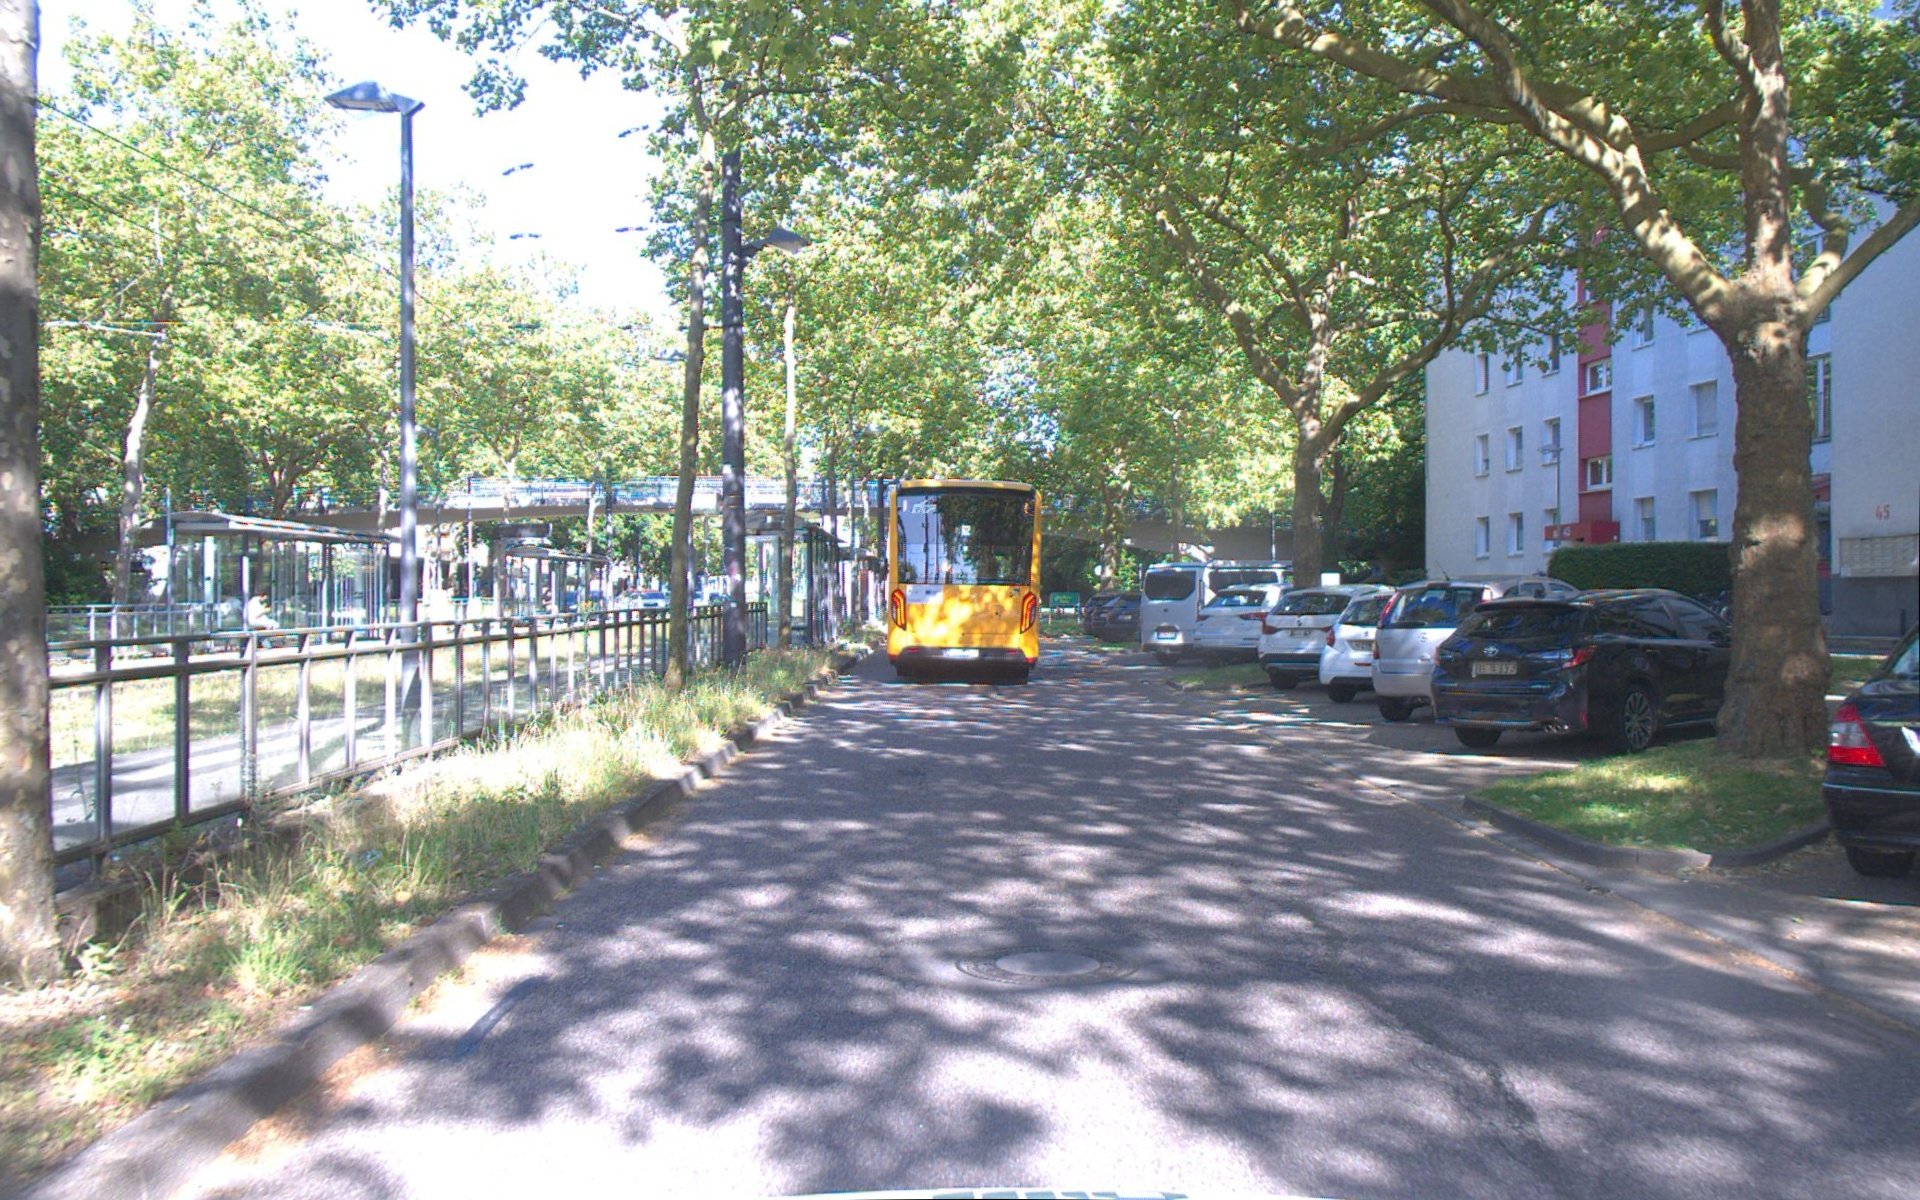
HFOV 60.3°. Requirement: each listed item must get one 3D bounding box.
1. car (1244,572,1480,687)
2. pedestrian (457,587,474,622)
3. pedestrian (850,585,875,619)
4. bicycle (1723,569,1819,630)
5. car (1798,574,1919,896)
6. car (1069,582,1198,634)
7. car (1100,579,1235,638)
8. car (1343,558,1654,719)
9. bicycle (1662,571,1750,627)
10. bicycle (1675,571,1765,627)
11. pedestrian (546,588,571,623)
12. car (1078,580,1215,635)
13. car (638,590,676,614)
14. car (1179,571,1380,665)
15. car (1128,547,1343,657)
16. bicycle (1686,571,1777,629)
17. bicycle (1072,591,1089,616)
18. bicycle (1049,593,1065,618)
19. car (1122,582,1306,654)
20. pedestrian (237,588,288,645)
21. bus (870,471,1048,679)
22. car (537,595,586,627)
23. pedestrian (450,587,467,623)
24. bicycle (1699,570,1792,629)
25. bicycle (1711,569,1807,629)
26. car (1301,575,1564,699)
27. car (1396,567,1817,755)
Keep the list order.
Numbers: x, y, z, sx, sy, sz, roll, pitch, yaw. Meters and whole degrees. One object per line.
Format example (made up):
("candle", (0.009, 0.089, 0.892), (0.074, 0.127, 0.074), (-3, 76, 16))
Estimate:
("car", (6.295, 0.420, 25.602), (1.768, 1.536, 4.188), (-2, 0, 42))
("pedestrian", (-23.788, 0.212, 79.536), (0.635, 1.690, 0.649), (0, 0, -5))
("pedestrian", (-3.625, 0.079, 61.635), (0.837, 1.264, 0.850), (1, 0, 1))
("bicycle", (16.876, -0.006, 34.419), (1.760, 1.149, 0.499), (-3, 0, -6))
("car", (6.223, 0.559, 8.942), (1.769, 1.447, 4.559), (-1, 1, 44))
("car", (5.710, 0.249, 54.131), (4.219, 1.487, 1.773), (-3, 0, -41))
("car", (6.025, 0.241, 47.803), (3.970, 1.493, 1.754), (-3, 0, -44))
("car", (6.391, 0.396, 19.430), (3.969, 1.617, 1.771), (-3, 0, -44))
("bicycle", (16.873, -0.031, 37.413), (1.760, 1.149, 0.499), (-3, 0, -6))
("bicycle", (16.898, -0.024, 36.775), (1.760, 1.149, 0.499), (-3, 0, -6))
("pedestrian", (-14.692, 0.191, 60.513), (0.762, 1.259, 0.722), (0, 0, -2))
("car", (5.771, 0.227, 50.959), (4.219, 1.487, 1.773), (-3, 0, -41))
("car", (-20.324, 0.126, 111.017), (1.757, 1.608, 4.287), (0, 0, 0))
("car", (6.221, 0.328, 32.003), (4.027, 1.607, 1.803), (-3, 0, -44))
("car", (5.859, 0.025, 34.841), (4.550, 2.088, 1.987), (-3, 0, -41))
("bicycle", (16.876, -0.008, 36.195), (1.760, 1.149, 0.499), (-3, 0, -6))
("bicycle", (6.048, 0.174, 83.015), (0.578, 1.203, 1.800), (-3, 1, -1))
("bicycle", (4.875, 0.261, 83.041), (0.578, 1.203, 1.800), (-3, 1, -1))
("car", (5.981, 0.399, 38.606), (4.552, 1.448, 1.772), (-3, 0, -42))
("pedestrian", (-14.819, 0.349, 35.147), (0.750, 1.204, 0.763), (0, 0, 0))
("bus", (-0.169, -0.432, 32.550), (2.841, 3.324, 12.214), (0, 0, -1))
("car", (-20.494, 0.541, 85.206), (1.759, 1.593, 4.284), (0, 0, -4))
("pedestrian", (-23.873, 0.222, 78.794), (0.635, 1.690, 0.649), (0, 0, -5))
("bicycle", (16.923, -0.007, 35.641), (1.760, 1.149, 0.499), (-3, 0, -6))
("bicycle", (16.932, -0.017, 35.042), (1.760, 1.149, 0.549), (-3, 0, -6))
("car", (6.546, 0.463, 22.698), (1.801, 1.444, 3.974), (-2, 0, 44))
("car", (6.317, 0.505, 15.933), (4.369, 1.453, 1.923), (-3, 0, -40))
